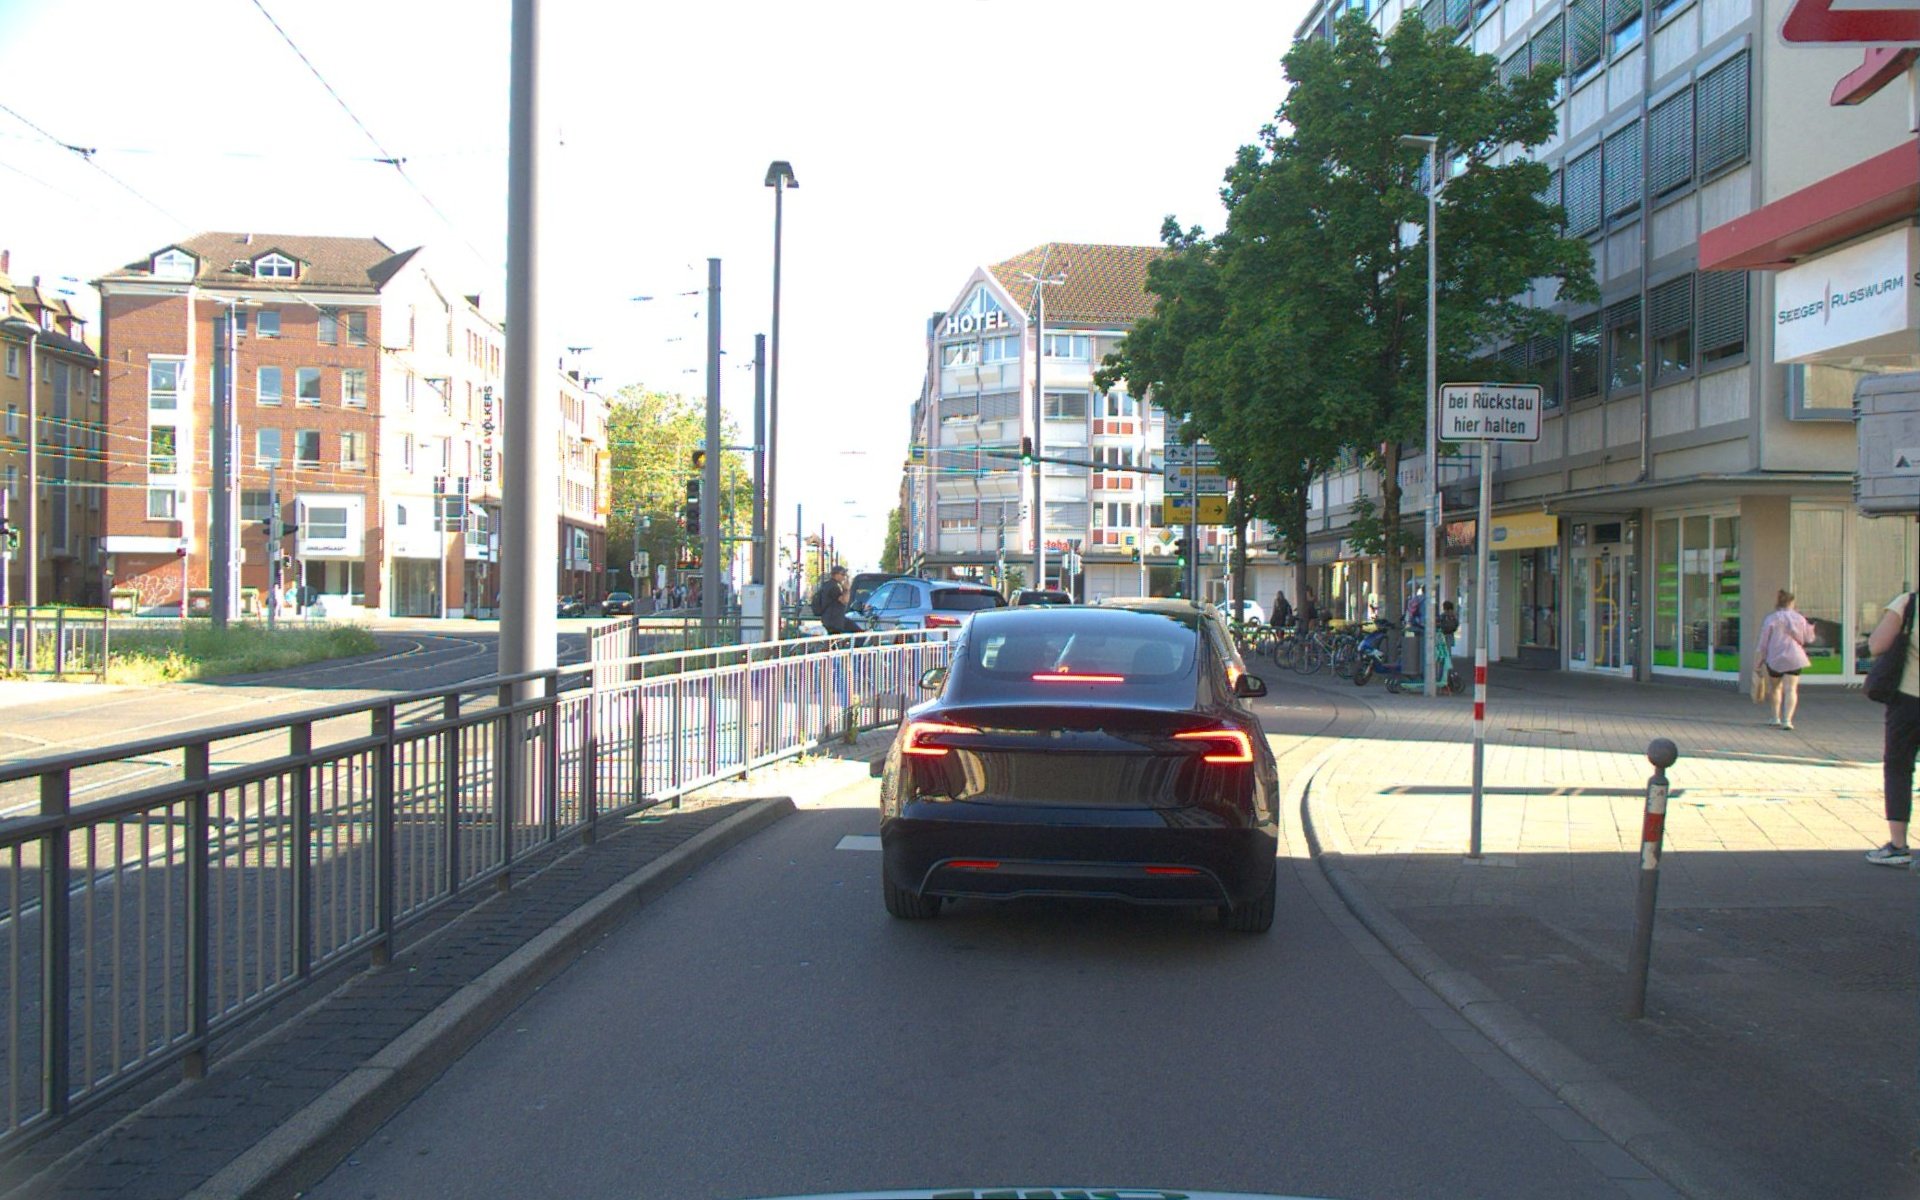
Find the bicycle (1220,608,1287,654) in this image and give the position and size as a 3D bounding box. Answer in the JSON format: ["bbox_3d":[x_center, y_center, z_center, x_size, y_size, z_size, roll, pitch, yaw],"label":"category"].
[{"bbox_3d":[7.360,0.775,41.482,1.616,1.118,0.350,0,0,1],"label":"bicycle"}]

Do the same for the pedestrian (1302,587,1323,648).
[{"bbox_3d":[10.235,0.509,47.996,0.515,1.740,0.403,1,-1,3],"label":"pedestrian"}]

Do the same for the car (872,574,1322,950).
[{"bbox_3d":[0.691,0.660,8.689,1.791,1.481,4.002,1,0,4],"label":"car"}]

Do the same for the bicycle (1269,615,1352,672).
[{"bbox_3d":[7.093,0.886,33.490,1.620,1.118,0.349,1,-1,-11],"label":"bicycle"}]

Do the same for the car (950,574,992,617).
[{"bbox_3d":[0.453,-0.184,71.201,1.685,1.781,3.753,1,0,-1],"label":"car"}]

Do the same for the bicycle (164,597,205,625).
[{"bbox_3d":[-28.312,0.391,60.412,0.437,0.988,2.246,1,0,-1],"label":"bicycle"}]

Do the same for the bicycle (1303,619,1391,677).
[{"bbox_3d":[7.380,0.913,31.543,1.620,1.079,0.349,1,-1,-11],"label":"bicycle"}]

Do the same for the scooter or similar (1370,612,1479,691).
[{"bbox_3d":[7.660,0.838,27.289,1.610,1.236,0.644,1,-1,30],"label":"scooter or similar"}]

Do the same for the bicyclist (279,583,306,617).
[{"bbox_3d":[-29.732,-0.013,73.674,0.689,1.496,0.973,0,0,7],"label":"bicyclist"}]

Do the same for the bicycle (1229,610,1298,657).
[{"bbox_3d":[7.425,0.819,40.437,1.616,1.118,0.350,1,-1,1],"label":"bicycle"}]

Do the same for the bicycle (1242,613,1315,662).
[{"bbox_3d":[7.381,0.864,38.396,1.616,1.118,0.350,1,-1,1],"label":"bicycle"}]

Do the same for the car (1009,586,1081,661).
[{"bbox_3d":[2.129,0.576,42.411,1.566,1.809,3.980,1,0,-1],"label":"car"}]

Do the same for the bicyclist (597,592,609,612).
[{"bbox_3d":[-28.899,0.163,133.922,0.767,1.590,0.746,1,-1,1],"label":"bicyclist"}]

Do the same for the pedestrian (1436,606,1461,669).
[{"bbox_3d":[10.704,0.819,36.262,0.381,1.367,0.513,1,-1,1],"label":"pedestrian"}]

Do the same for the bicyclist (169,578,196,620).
[{"bbox_3d":[-28.299,-0.028,60.201,0.620,1.529,0.696,1,-1,-1],"label":"bicyclist"}]

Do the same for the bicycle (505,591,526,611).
[{"bbox_3d":[-26.757,0.083,99.512,0.518,1.107,2.284,5,-1,1],"label":"bicycle"}]

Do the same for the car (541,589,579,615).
[{"bbox_3d":[-24.739,0.117,102.303,1.677,1.553,4.031,1,0,-5],"label":"car"}]

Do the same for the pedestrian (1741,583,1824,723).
[{"bbox_3d":[10.302,0.650,20.745,0.871,1.696,0.808,1,-1,23],"label":"pedestrian"}]

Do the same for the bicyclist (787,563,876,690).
[{"bbox_3d":[-1.730,0.353,22.236,0.753,1.657,0.964,1,-1,-39],"label":"bicyclist"}]

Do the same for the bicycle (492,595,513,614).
[{"bbox_3d":[-26.344,0.256,95.245,0.526,1.107,2.225,1,0,0],"label":"bicycle"}]

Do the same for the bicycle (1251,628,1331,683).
[{"bbox_3d":[6.884,1.154,34.398,1.620,1.118,0.349,1,-1,-11],"label":"bicycle"}]

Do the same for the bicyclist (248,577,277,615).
[{"bbox_3d":[-28.384,-0.149,67.303,0.880,1.529,0.696,1,-1,-1],"label":"bicyclist"}]

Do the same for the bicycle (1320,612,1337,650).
[{"bbox_3d":[10.605,0.881,47.574,0.325,1.052,1.257,1,0,6],"label":"bicycle"}]

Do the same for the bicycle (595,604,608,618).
[{"bbox_3d":[-28.914,0.881,133.553,0.518,1.107,2.225,1,0,1],"label":"bicycle"}]

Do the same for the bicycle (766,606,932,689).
[{"bbox_3d":[-1.480,0.637,22.452,2.313,1.072,0.622,1,-1,-39],"label":"bicycle"}]

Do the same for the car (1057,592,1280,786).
[{"bbox_3d":[1.819,0.679,14.924,1.714,1.480,4.003,1,0,6],"label":"car"}]

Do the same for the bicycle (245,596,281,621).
[{"bbox_3d":[-28.375,0.330,67.359,0.513,0.988,2.246,1,0,-1],"label":"bicycle"}]

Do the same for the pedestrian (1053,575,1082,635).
[{"bbox_3d":[3.763,0.176,57.817,0.902,2.049,0.972,1,-1,-1],"label":"pedestrian"}]

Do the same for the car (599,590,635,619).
[{"bbox_3d":[-21.886,0.294,105.554,1.663,1.762,3.704,1,0,-3],"label":"car"}]

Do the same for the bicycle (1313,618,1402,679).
[{"bbox_3d":[7.477,0.917,31.123,1.620,1.118,0.349,1,-1,-11],"label":"bicycle"}]

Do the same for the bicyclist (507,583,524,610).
[{"bbox_3d":[-26.764,-0.206,99.594,0.768,1.590,0.746,0,0,0],"label":"bicyclist"}]

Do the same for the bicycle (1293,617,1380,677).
[{"bbox_3d":[7.276,0.908,31.965,1.620,1.118,0.349,1,-1,-11],"label":"bicycle"}]

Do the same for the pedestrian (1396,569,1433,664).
[{"bbox_3d":[9.986,0.357,36.375,0.648,2.049,0.579,1,-1,1],"label":"pedestrian"}]

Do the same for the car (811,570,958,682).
[{"bbox_3d":[-1.551,0.487,32.591,1.962,2.049,3.981,0,0,-17],"label":"car"}]

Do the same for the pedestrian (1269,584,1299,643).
[{"bbox_3d":[9.329,0.384,47.668,0.685,1.691,0.777,1,-1,-1],"label":"pedestrian"}]

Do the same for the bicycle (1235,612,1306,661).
[{"bbox_3d":[7.397,0.866,39.423,1.616,1.118,0.350,1,-1,1],"label":"bicycle"}]

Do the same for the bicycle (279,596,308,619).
[{"bbox_3d":[-29.697,0.338,73.666,0.396,0.998,1.695,1,0,7],"label":"bicycle"}]

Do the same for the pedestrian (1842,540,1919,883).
[{"bbox_3d":[5.379,0.579,9.014,0.895,1.783,1.038,0,0,22],"label":"pedestrian"}]

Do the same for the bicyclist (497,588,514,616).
[{"bbox_3d":[-26.349,0.102,95.850,0.768,1.590,0.746,1,-1,0],"label":"bicyclist"}]

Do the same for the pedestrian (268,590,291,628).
[{"bbox_3d":[-33.005,0.440,80.221,0.767,1.852,0.746,1,-1,1],"label":"pedestrian"}]

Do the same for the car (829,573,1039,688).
[{"bbox_3d":[-0.505,0.457,26.520,1.859,1.691,4.125,1,0,-25],"label":"car"}]

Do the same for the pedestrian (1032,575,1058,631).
[{"bbox_3d":[3.146,0.127,61.277,0.902,2.049,0.972,1,-1,-1],"label":"pedestrian"}]

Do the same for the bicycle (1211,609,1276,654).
[{"bbox_3d":[7.290,0.800,42.575,1.616,1.118,0.350,1,-1,1],"label":"bicycle"}]

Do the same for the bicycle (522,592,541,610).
[{"bbox_3d":[-26.647,0.083,102.862,0.518,1.108,2.284,0,0,1],"label":"bicycle"}]

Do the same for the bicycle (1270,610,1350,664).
[{"bbox_3d":[7.498,0.792,35.446,1.616,1.118,0.350,1,-1,1],"label":"bicycle"}]

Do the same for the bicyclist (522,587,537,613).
[{"bbox_3d":[-26.618,-0.009,102.262,0.767,1.590,0.746,0,0,1],"label":"bicyclist"}]

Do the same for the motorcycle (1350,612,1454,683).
[{"bbox_3d":[7.810,0.838,29.242,1.673,1.194,0.541,1,-1,-3],"label":"motorcycle"}]
